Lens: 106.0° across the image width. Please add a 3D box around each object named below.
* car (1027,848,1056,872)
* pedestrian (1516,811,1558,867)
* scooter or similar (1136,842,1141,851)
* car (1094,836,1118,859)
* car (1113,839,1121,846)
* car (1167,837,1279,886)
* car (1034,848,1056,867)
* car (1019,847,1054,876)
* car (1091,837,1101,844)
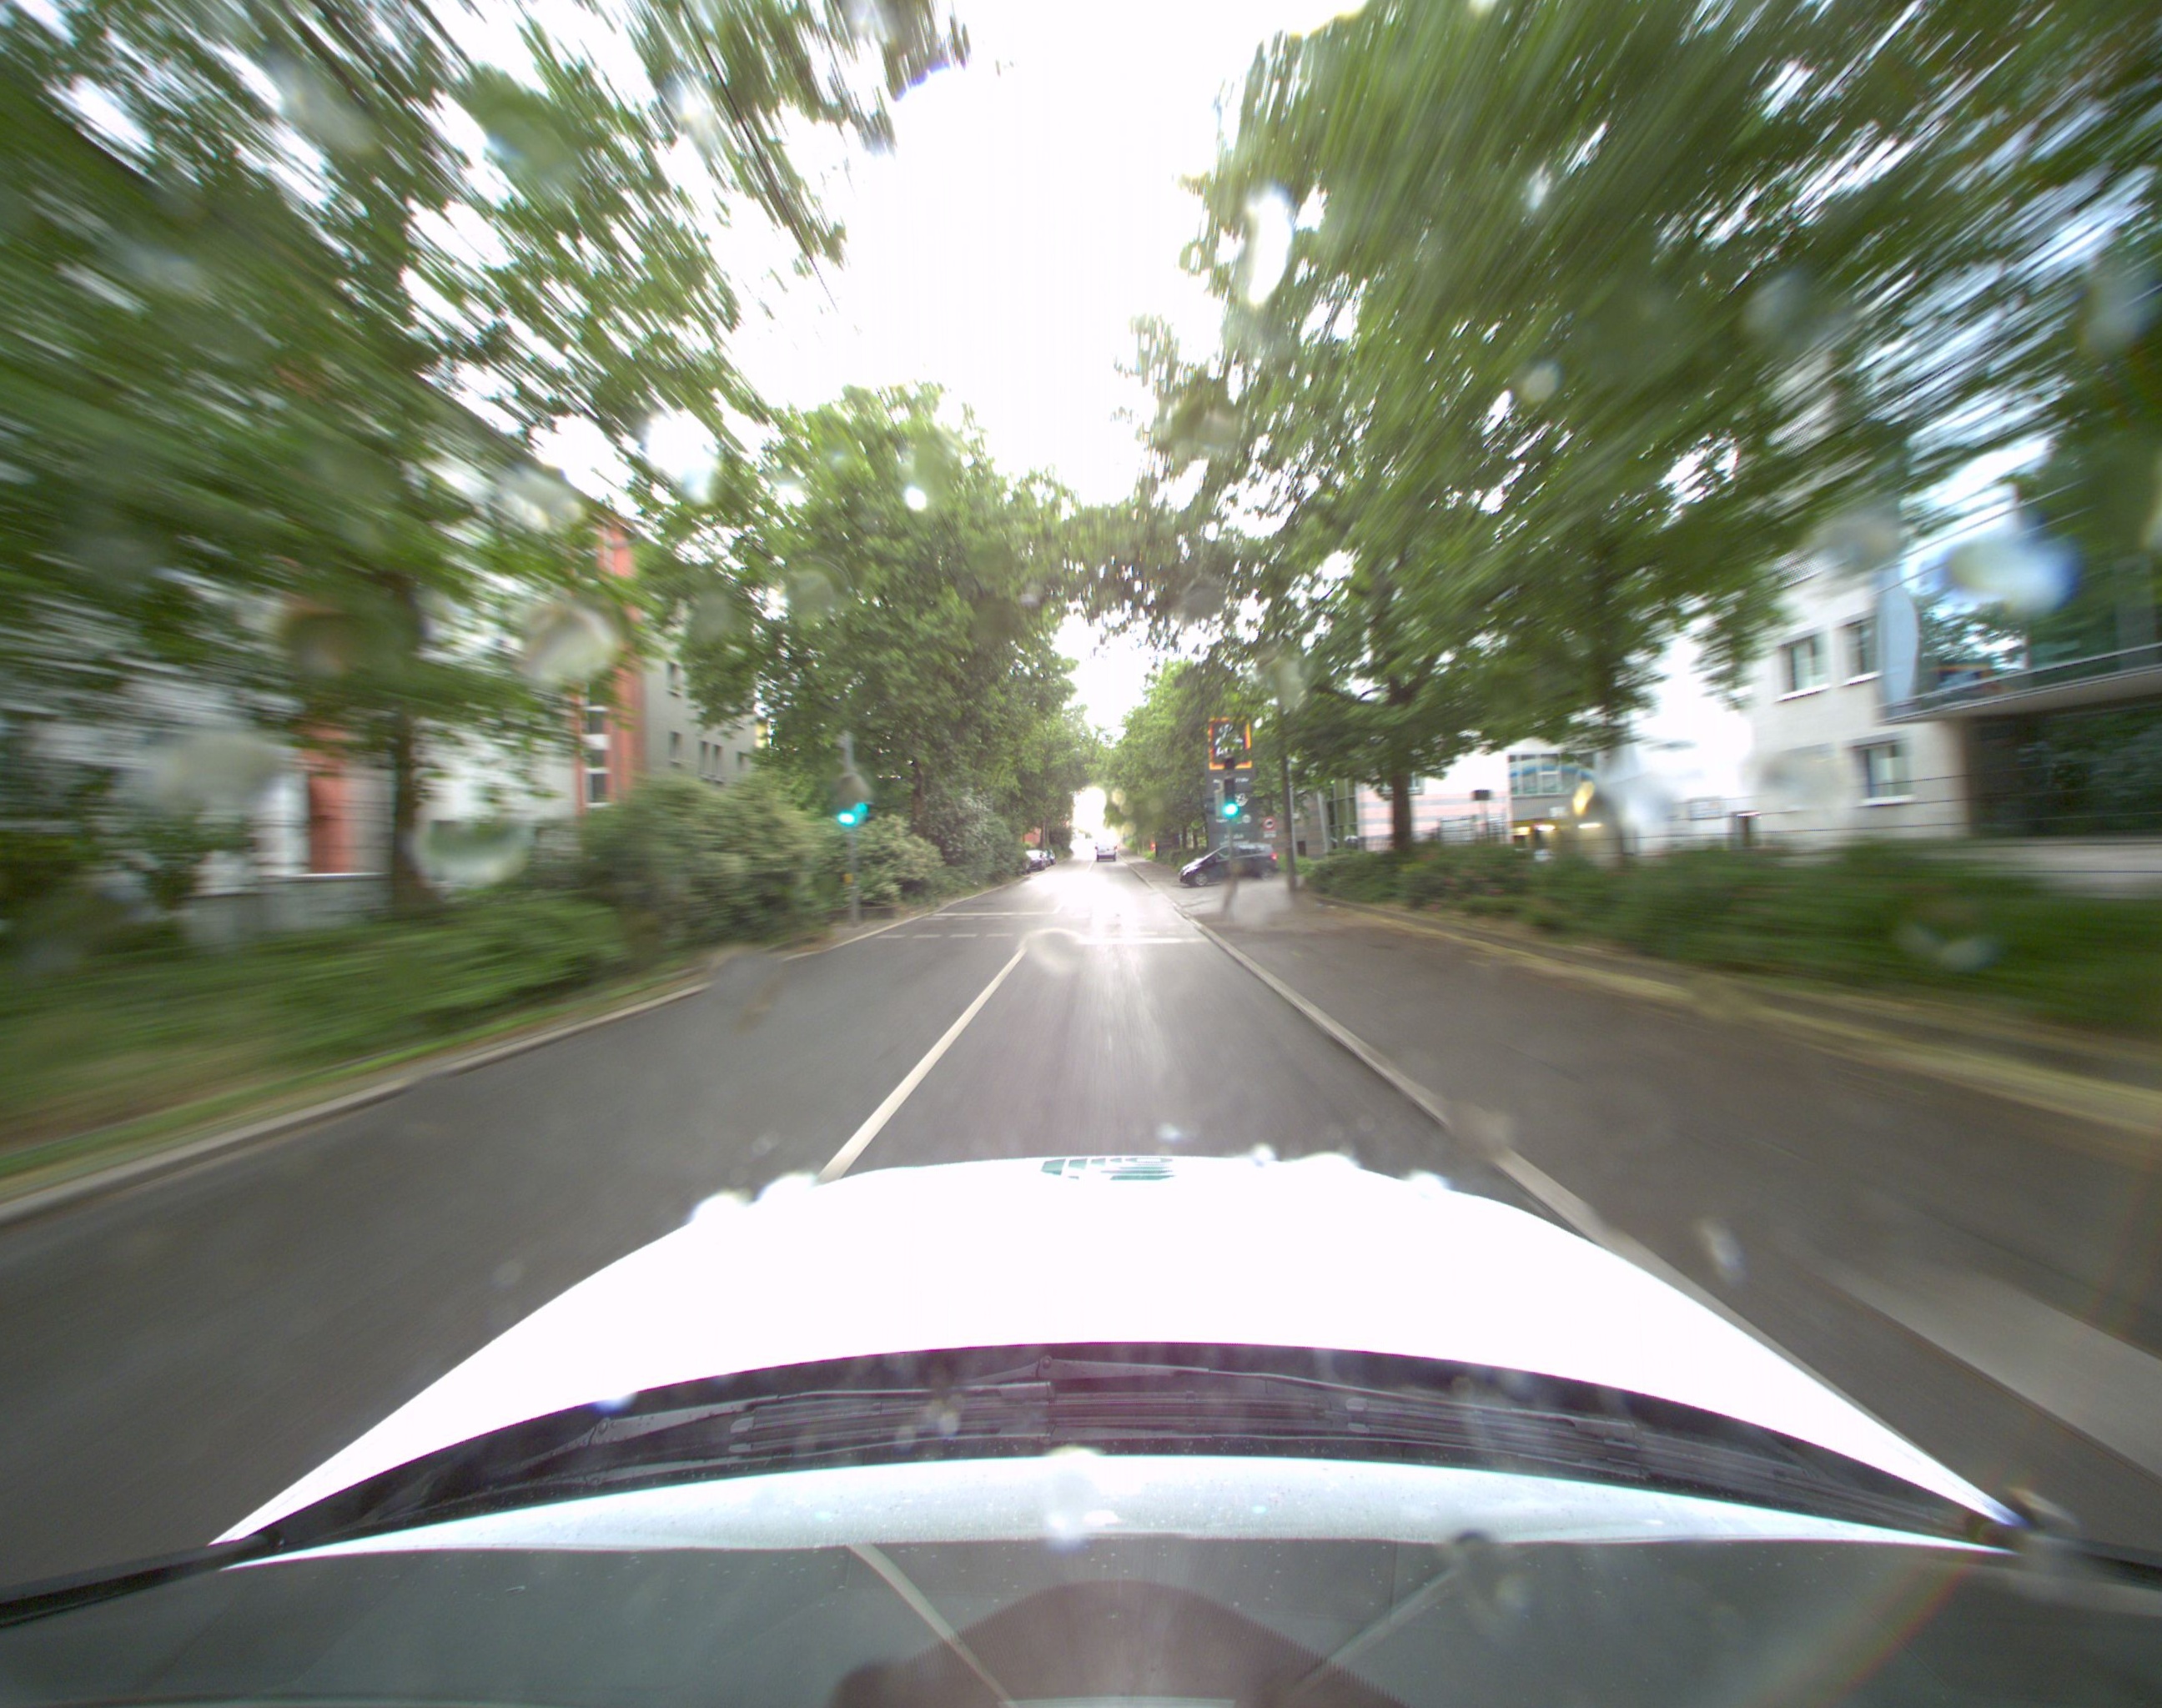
[{"bbox_3d":[-2.905,0.409,60.517,1.859,1.591,4.239,-5,1,0],"label":"car"},{"bbox_3d":[15.268,-0.490,27.307,0.825,1.828,0.961,-3,-1,5],"label":"pedestrian"},{"bbox_3d":[7.152,-0.913,101.038,0.424,1.142,1.529,0,-1,0],"label":"scooter or similar"},{"bbox_3d":[2.616,-0.616,85.553,2.327,2.231,4.002,-3,0,2],"label":"car"},{"bbox_3d":[9.227,-2.908,208.675,1.921,1.709,3.879,-1,-1,6],"label":"car"},{"bbox_3d":[5.508,0.281,31.843,3.842,1.547,2.023,-5,0,-5],"label":"car"},{"bbox_3d":[-3.340,0.304,76.706,1.642,1.537,4.019,-6,0,1],"label":"car"},{"bbox_3d":[-2.976,0.498,55.340,1.727,1.657,4.568,-6,1,3],"label":"car"},{"bbox_3d":[4.002,-3.509,216.634,2.149,1.709,3.879,-1,-1,6],"label":"car"}]
